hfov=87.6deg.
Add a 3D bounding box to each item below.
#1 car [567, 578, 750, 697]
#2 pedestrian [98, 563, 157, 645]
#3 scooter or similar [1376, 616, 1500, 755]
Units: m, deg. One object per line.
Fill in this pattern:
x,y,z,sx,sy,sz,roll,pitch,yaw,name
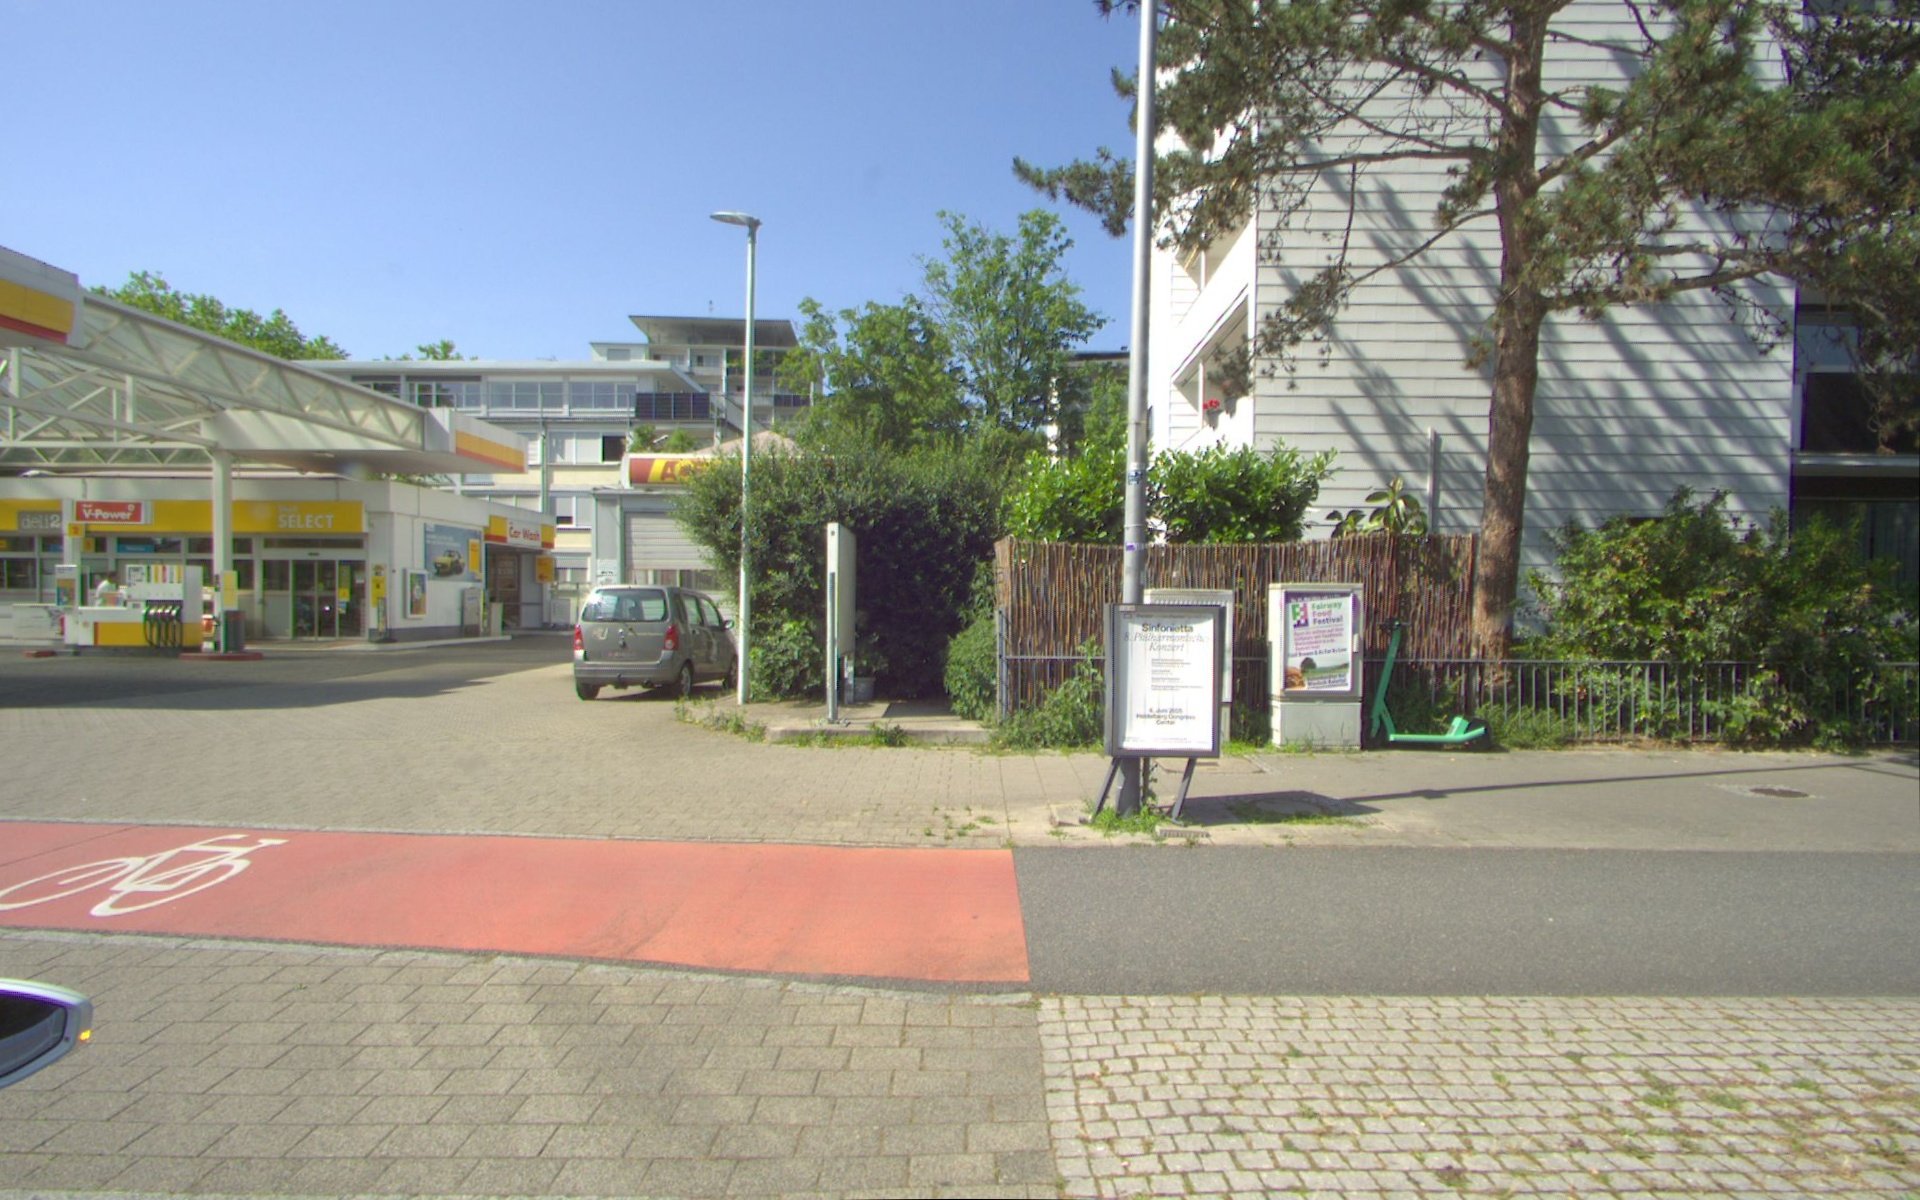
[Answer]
-4.538,0.529,15.636,1.559,1.617,3.833,1,0,2,car
-19.379,0.096,23.324,0.844,1.862,0.743,0,0,-21,pedestrian
4.197,0.739,8.821,0.939,1.181,0.231,1,0,9,scooter or similar
